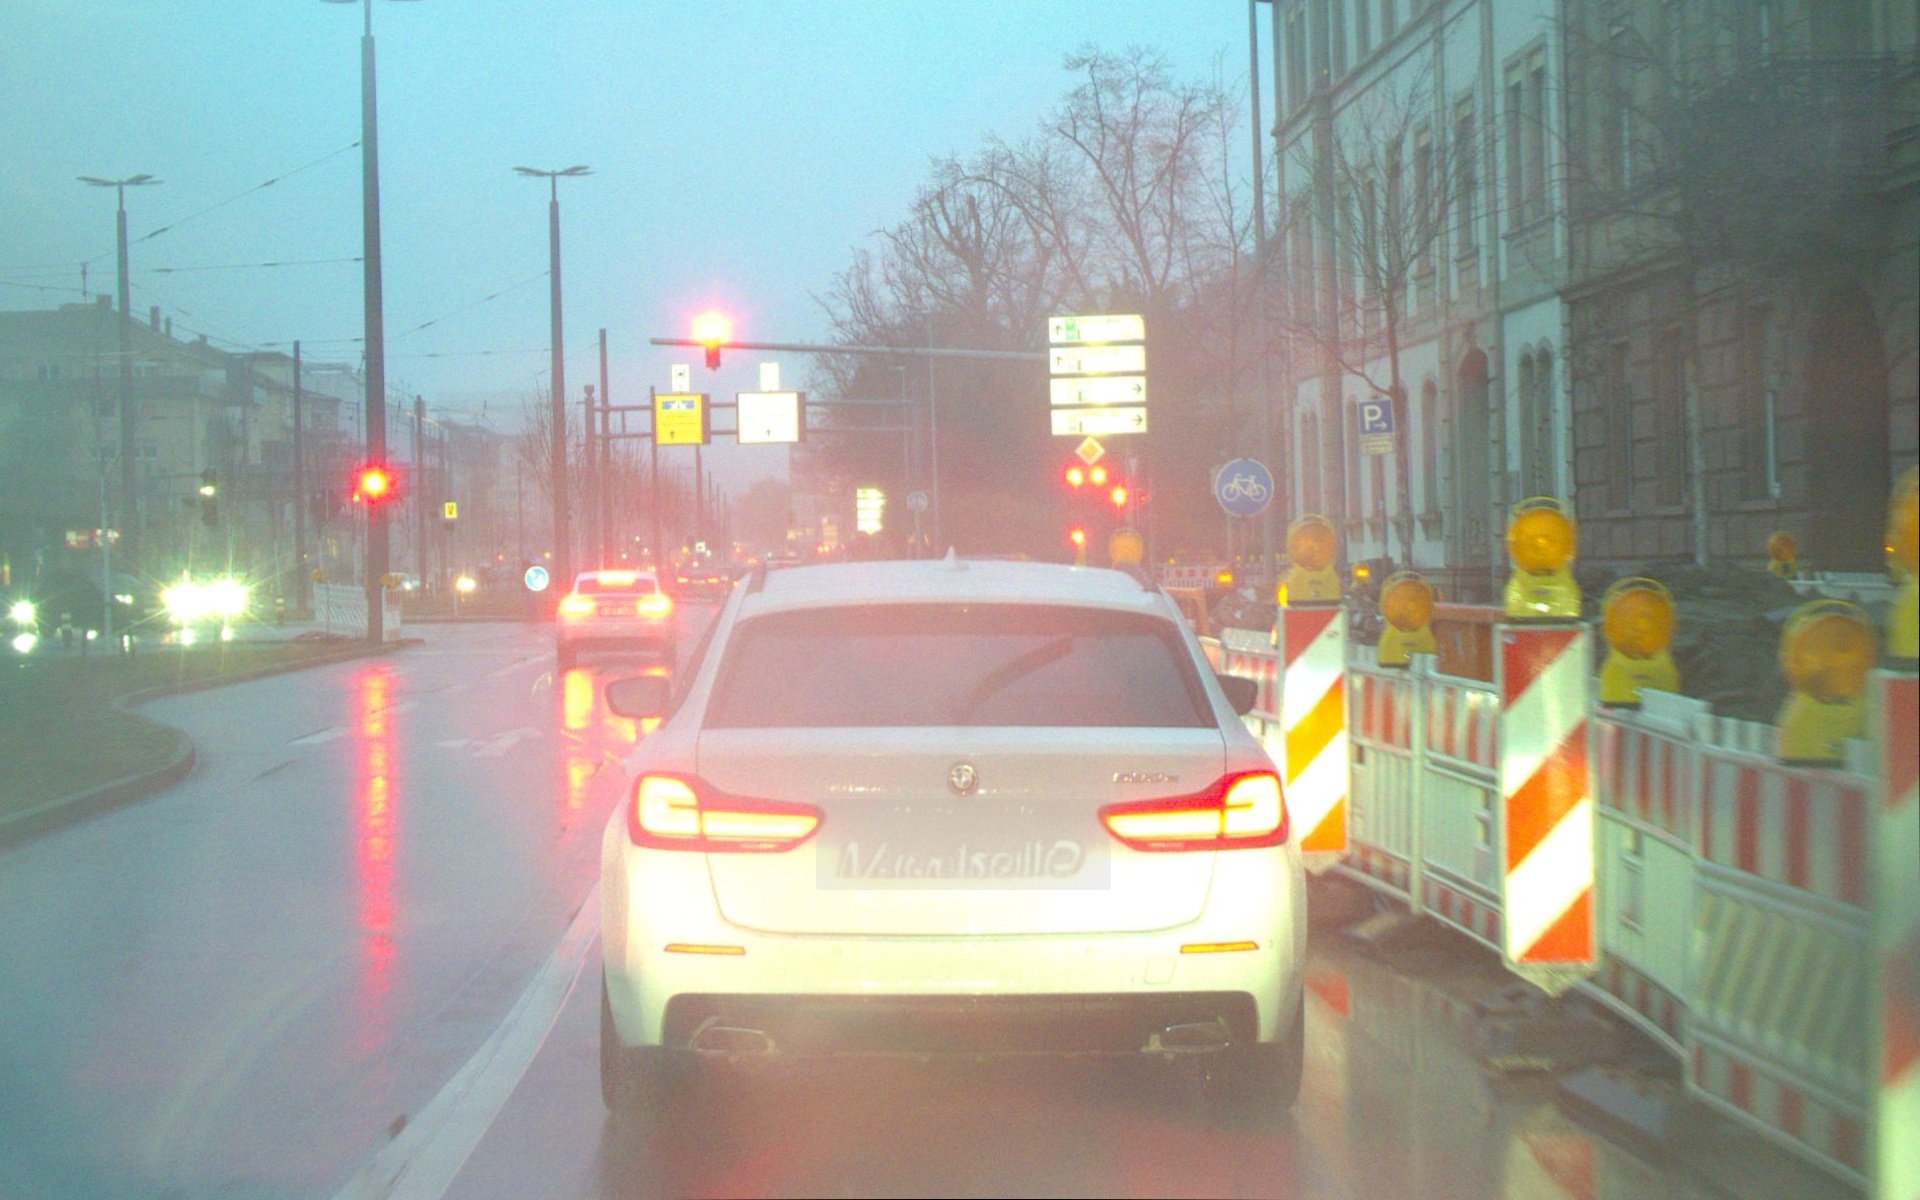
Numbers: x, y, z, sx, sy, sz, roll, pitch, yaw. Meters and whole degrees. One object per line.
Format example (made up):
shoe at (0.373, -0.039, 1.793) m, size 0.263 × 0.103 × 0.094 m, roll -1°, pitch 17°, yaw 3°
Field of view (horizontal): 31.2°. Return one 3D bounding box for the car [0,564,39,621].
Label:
car at (-26.100, -0.219, 93.533) m, size 1.739 × 1.487 × 3.544 m, roll 0°, pitch 1°, yaw -11°

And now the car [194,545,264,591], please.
car at (-26.349, -1.161, 124.009) m, size 1.560 × 1.653 × 3.395 m, roll 0°, pitch 1°, yaw 4°

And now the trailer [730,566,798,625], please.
trailer at (-5.709, -0.139, 99.611) m, size 1.834 × 1.637 × 4.001 m, roll 0°, pitch 1°, yaw -5°

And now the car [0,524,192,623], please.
car at (-17.806, -0.548, 69.984) m, size 3.986 × 1.968 × 2.001 m, roll 0°, pitch 1°, yaw -21°

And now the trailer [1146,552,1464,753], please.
trailer at (2.509, 0.342, 25.753) m, size 1.850 × 1.341 × 3.529 m, roll -1°, pitch 1°, yaw -3°

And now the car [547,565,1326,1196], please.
car at (-0.191, 0.638, 10.648) m, size 1.852 × 1.460 × 4.947 m, roll 0°, pitch 1°, yaw -3°

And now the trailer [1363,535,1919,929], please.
trailer at (3.163, 0.462, 15.719) m, size 1.835 × 1.485 × 4.848 m, roll -1°, pitch 1°, yaw -3°

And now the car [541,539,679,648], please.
car at (-5.394, -0.130, 53.395) m, size 1.901 × 1.636 × 4.001 m, roll 0°, pitch 1°, yaw -3°

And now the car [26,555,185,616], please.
car at (-21.464, -0.378, 86.330) m, size 3.535 × 1.487 × 1.743 m, roll 0°, pitch 1°, yaw 23°
